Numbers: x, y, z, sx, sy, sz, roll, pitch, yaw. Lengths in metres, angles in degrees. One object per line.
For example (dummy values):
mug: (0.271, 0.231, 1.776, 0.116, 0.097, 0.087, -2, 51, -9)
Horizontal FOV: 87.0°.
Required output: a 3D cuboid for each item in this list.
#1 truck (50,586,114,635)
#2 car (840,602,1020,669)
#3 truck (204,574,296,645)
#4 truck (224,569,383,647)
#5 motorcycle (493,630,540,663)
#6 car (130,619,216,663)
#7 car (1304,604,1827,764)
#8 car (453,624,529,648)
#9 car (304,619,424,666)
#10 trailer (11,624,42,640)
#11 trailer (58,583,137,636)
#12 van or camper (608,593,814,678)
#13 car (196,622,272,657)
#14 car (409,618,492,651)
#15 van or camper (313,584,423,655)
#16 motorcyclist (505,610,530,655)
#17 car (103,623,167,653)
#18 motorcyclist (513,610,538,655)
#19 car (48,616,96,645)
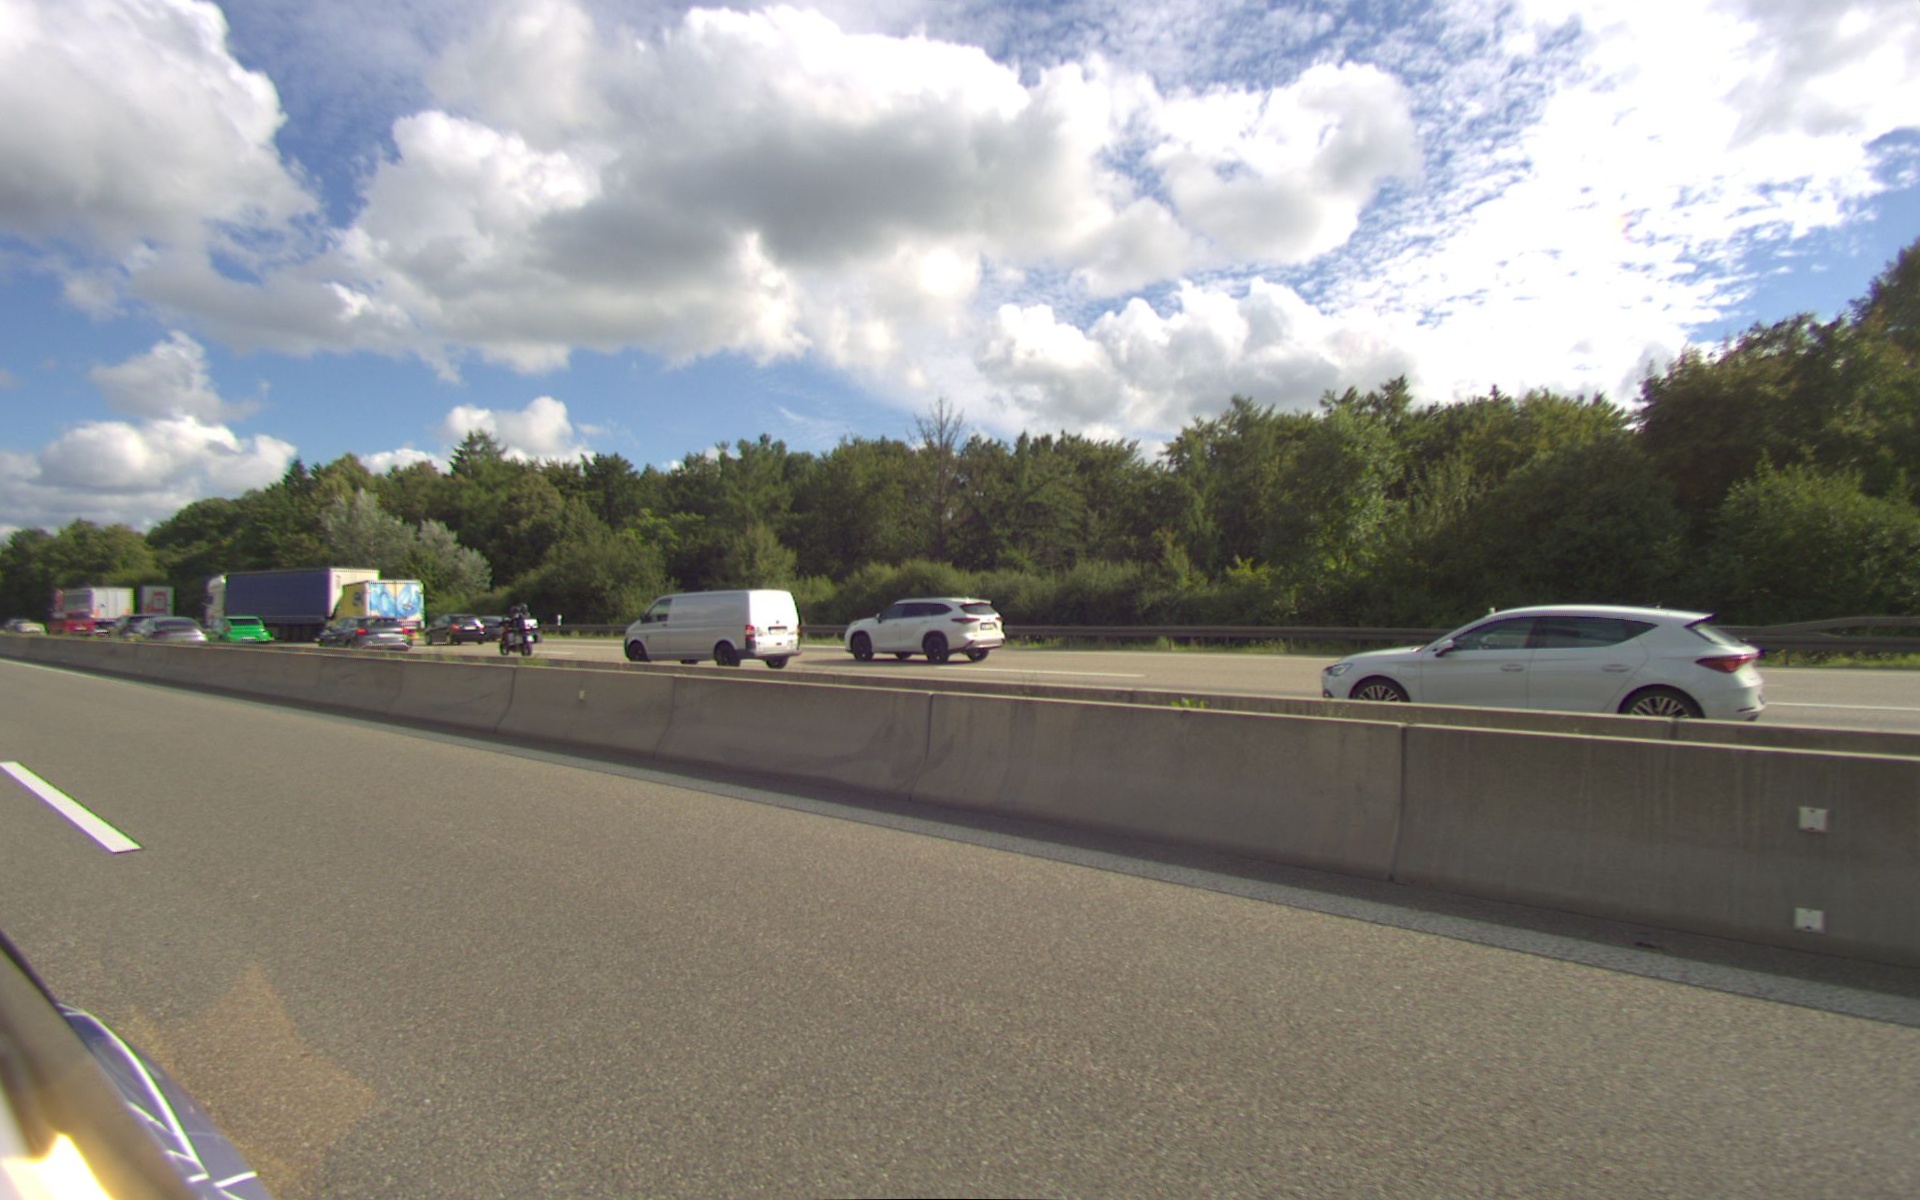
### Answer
truck: (-72.109, 0.877, 83.076, 6.759, 3.887, 2.937, -1, -1, 40)
car: (-0.884, 0.948, 28.063, 4.782, 1.696, 2.149, -1, -1, 40)
truck: (-43.612, 0.611, 62.132, 6.047, 4.125, 2.795, -1, -1, 35)
truck: (-38.089, 0.547, 58.346, 13.812, 4.125, 2.795, -1, -1, 35)
motorcycle: (-14.985, 1.560, 34.193, 2.174, 1.048, 0.603, -1, -1, 42)
car: (-29.851, 1.510, 38.341, 4.661, 1.564, 1.843, -1, -1, 43)
car: (6.444, 0.792, 11.187, 4.686, 1.405, 1.752, -1, -1, 40)
car: (-24.643, 1.865, 53.108, 4.784, 1.140, 1.915, -1, -1, 42)
car: (-20.837, 1.432, 35.324, 4.782, 1.482, 2.149, -1, -1, 40)
trailer: (-88.397, 3.026, 95.806, 4.174, 1.413, 1.520, -1, -1, 38)
trailer: (-67.797, 0.826, 79.473, 11.272, 3.887, 2.937, -1, -1, 40)
van or camper: (-6.400, 0.869, 25.673, 5.444, 1.952, 1.977, -1, -1, 35)
car: (-32.230, 1.750, 44.908, 4.328, 1.482, 1.765, -2, -2, 41)
car: (-24.408, 1.617, 48.429, 4.401, 1.482, 2.032, -1, -1, 40)
van or camper: (-26.407, 0.901, 45.035, 6.504, 2.914, 2.348, -2, -3, 42)
motorcyclist: (-14.932, 1.088, 34.149, 0.532, 1.487, 0.596, -1, 0, 42)
car: (-46.507, 2.125, 57.027, 4.908, 1.608, 1.825, -1, -2, 39)
motorcyclist: (-14.479, 1.083, 33.736, 0.532, 1.487, 0.596, -1, 0, 42)
car: (-62.547, 2.147, 71.266, 5.031, 1.955, 1.828, -2, -3, 41)
